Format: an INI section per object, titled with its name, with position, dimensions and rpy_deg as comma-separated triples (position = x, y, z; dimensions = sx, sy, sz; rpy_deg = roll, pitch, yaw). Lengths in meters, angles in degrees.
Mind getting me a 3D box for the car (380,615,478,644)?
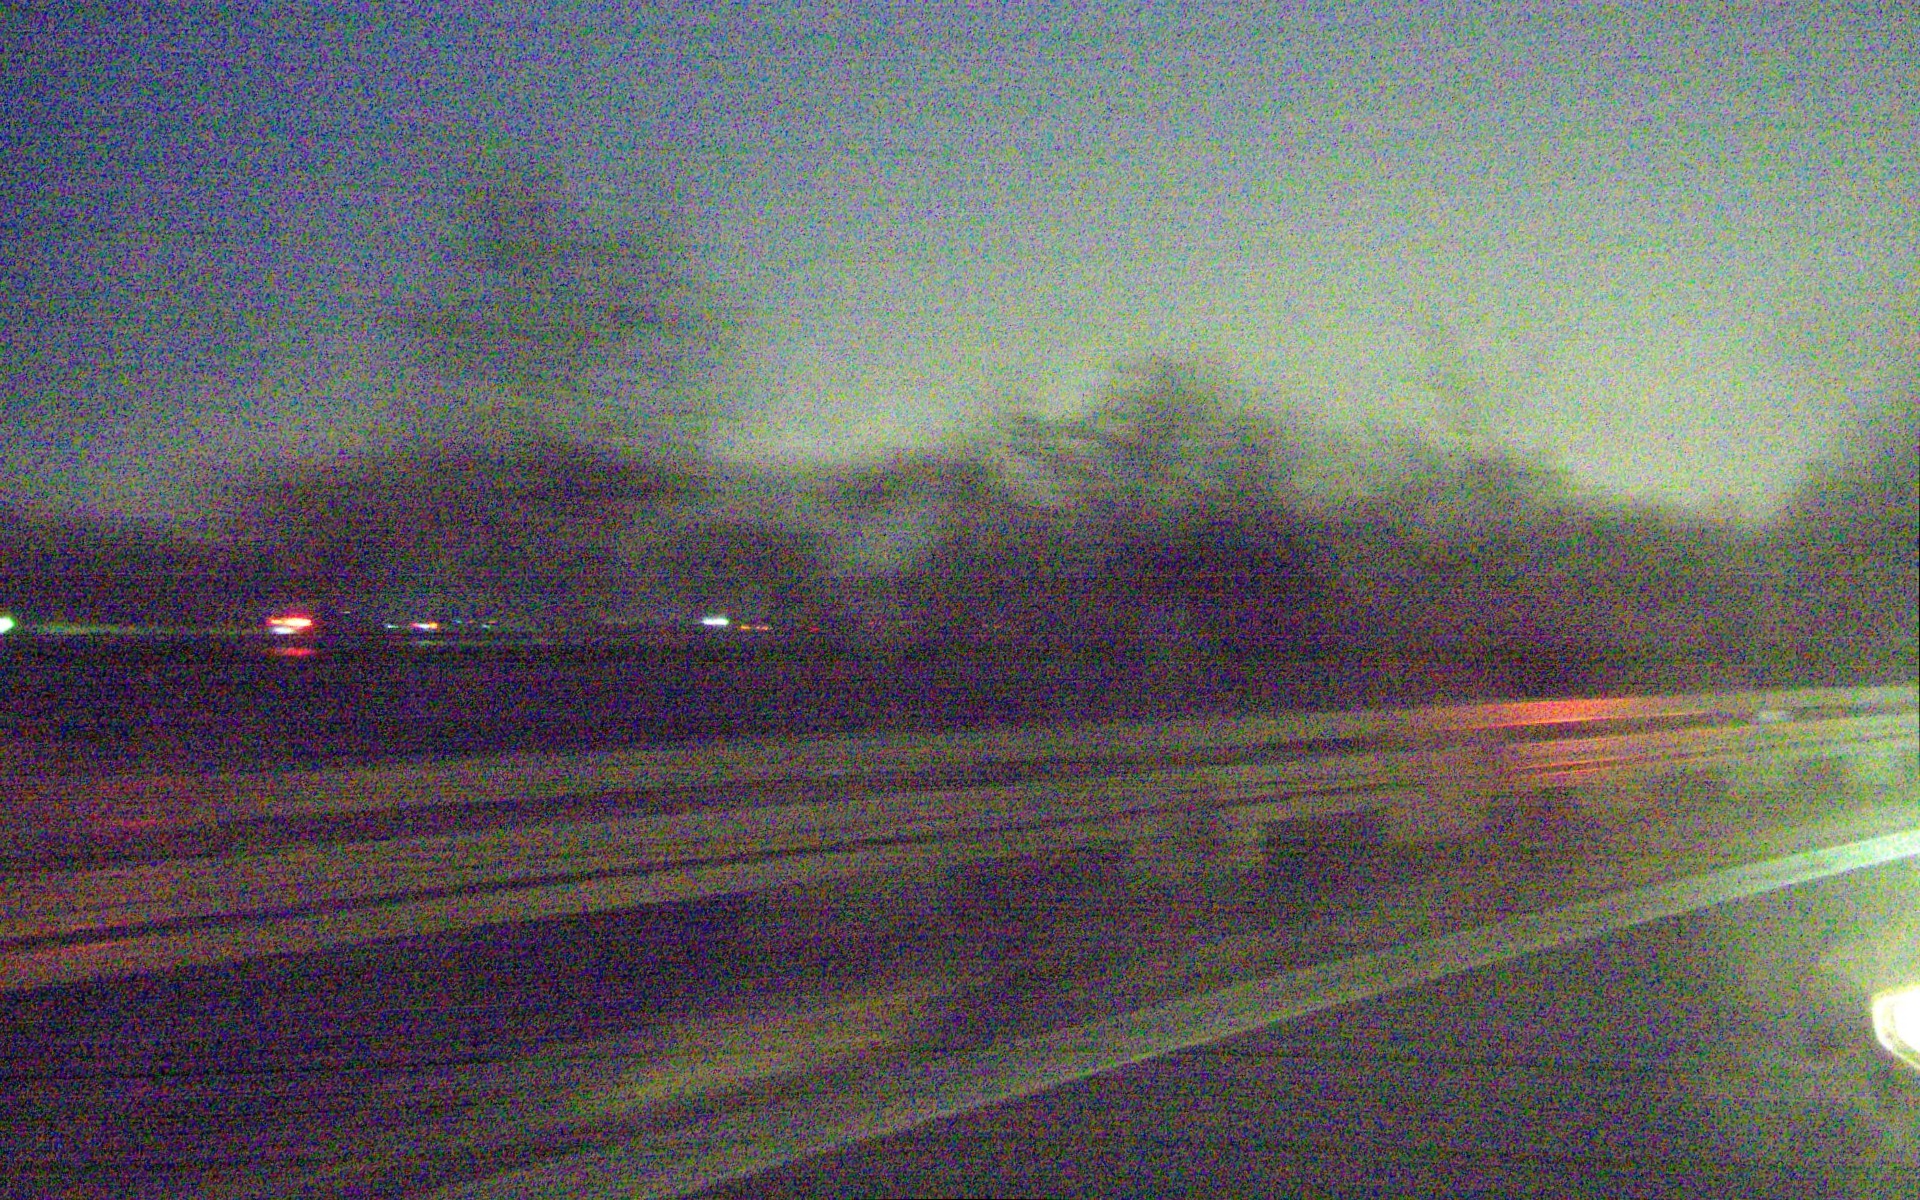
[car]
position = -27.986, 1.577, 53.083
dimensions = 1.732, 1.395, 4.425
rpy_deg = 2, -1, 22
